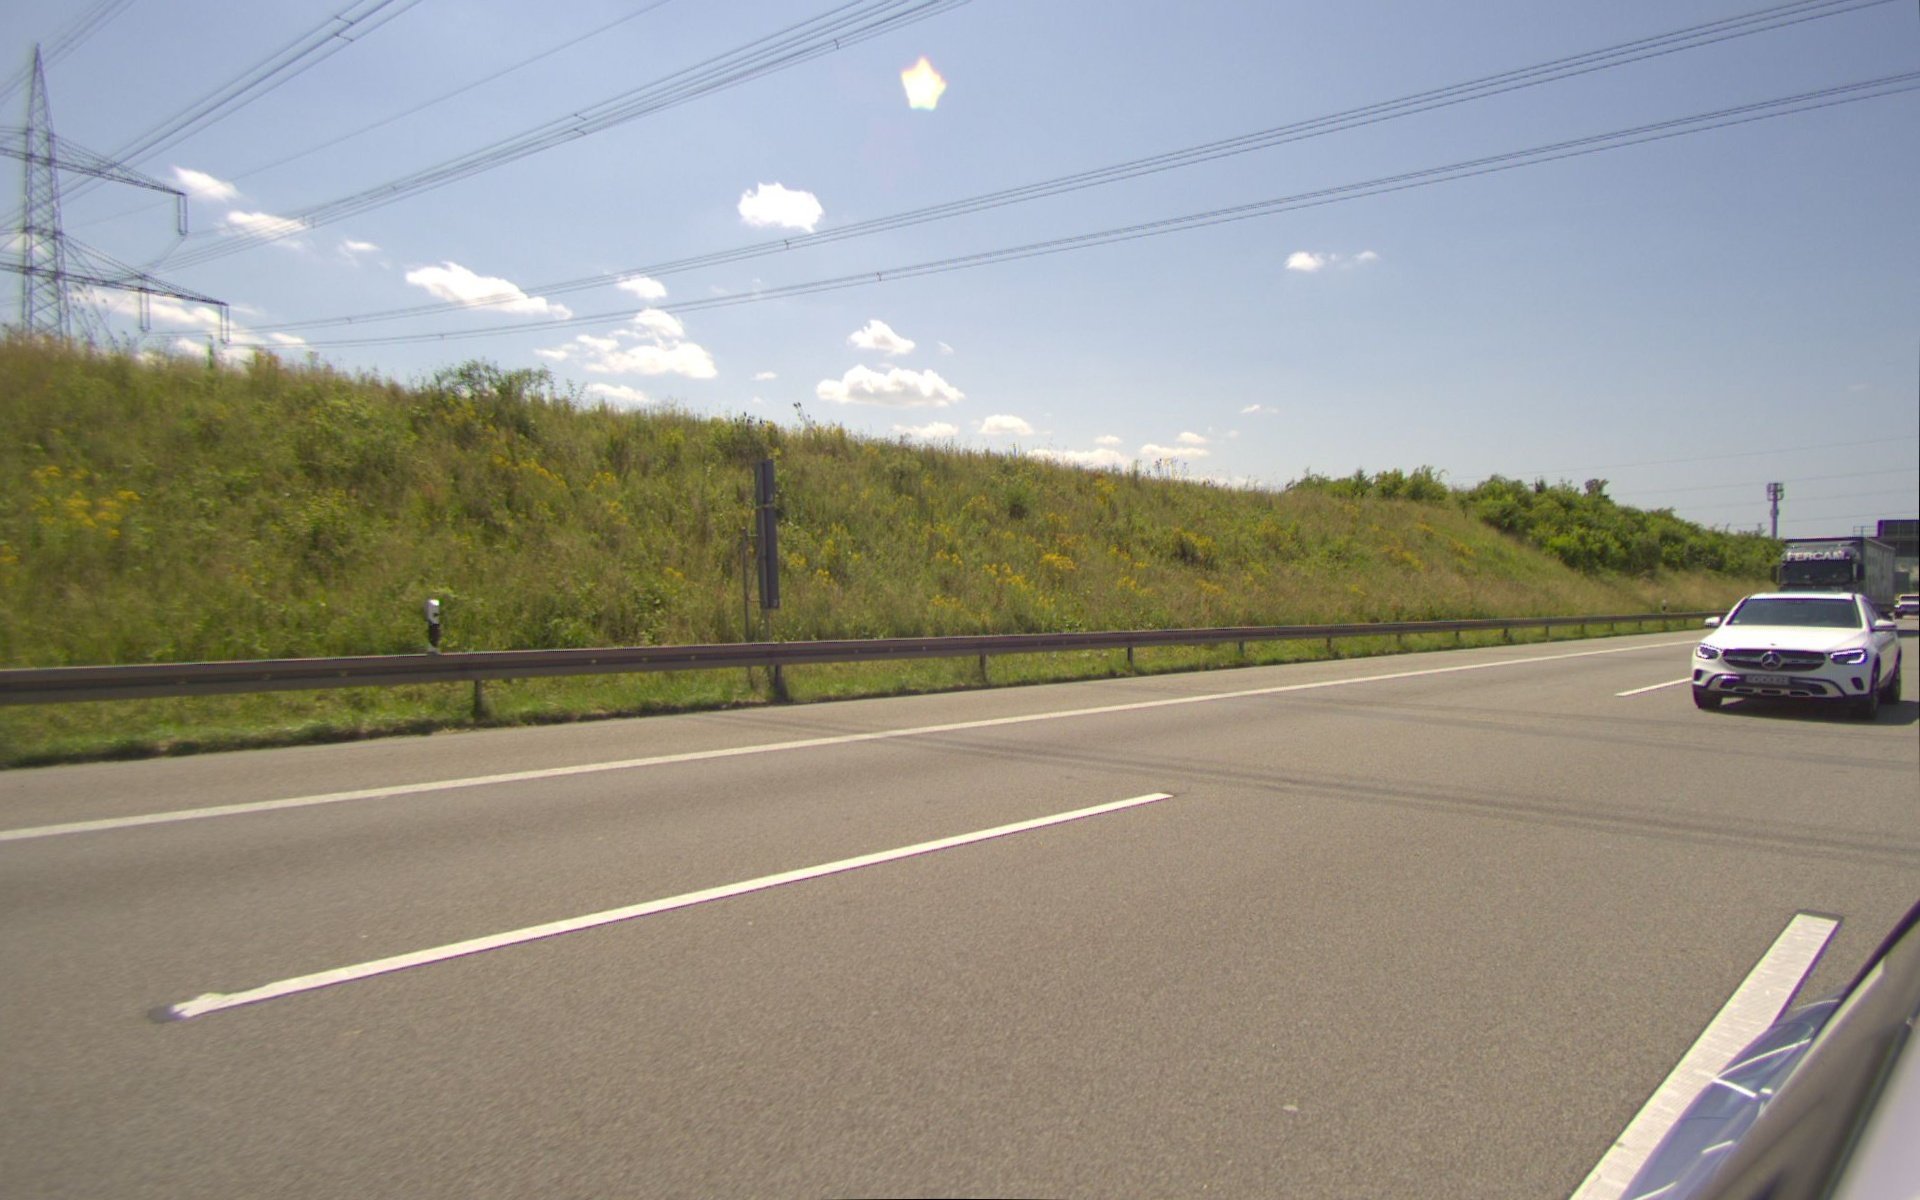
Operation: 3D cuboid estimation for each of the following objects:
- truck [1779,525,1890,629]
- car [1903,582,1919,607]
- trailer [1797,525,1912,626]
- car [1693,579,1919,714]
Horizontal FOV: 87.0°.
[{"bbox_3d":[36.937,-0.947,42.671,6.673,4.071,2.756,-1,0,-42],"label":"truck"},{"bbox_3d":[71.802,-0.448,75.360,4.179,1.827,2.037,-1,1,-43],"label":"car"},{"bbox_3d":[41.774,-1.112,47.081,11.607,4.207,2.729,-1,1,-42],"label":"trailer"},{"bbox_3d":[12.291,0.512,14.495,5.142,1.600,1.916,-1,1,-43],"label":"car"}]
